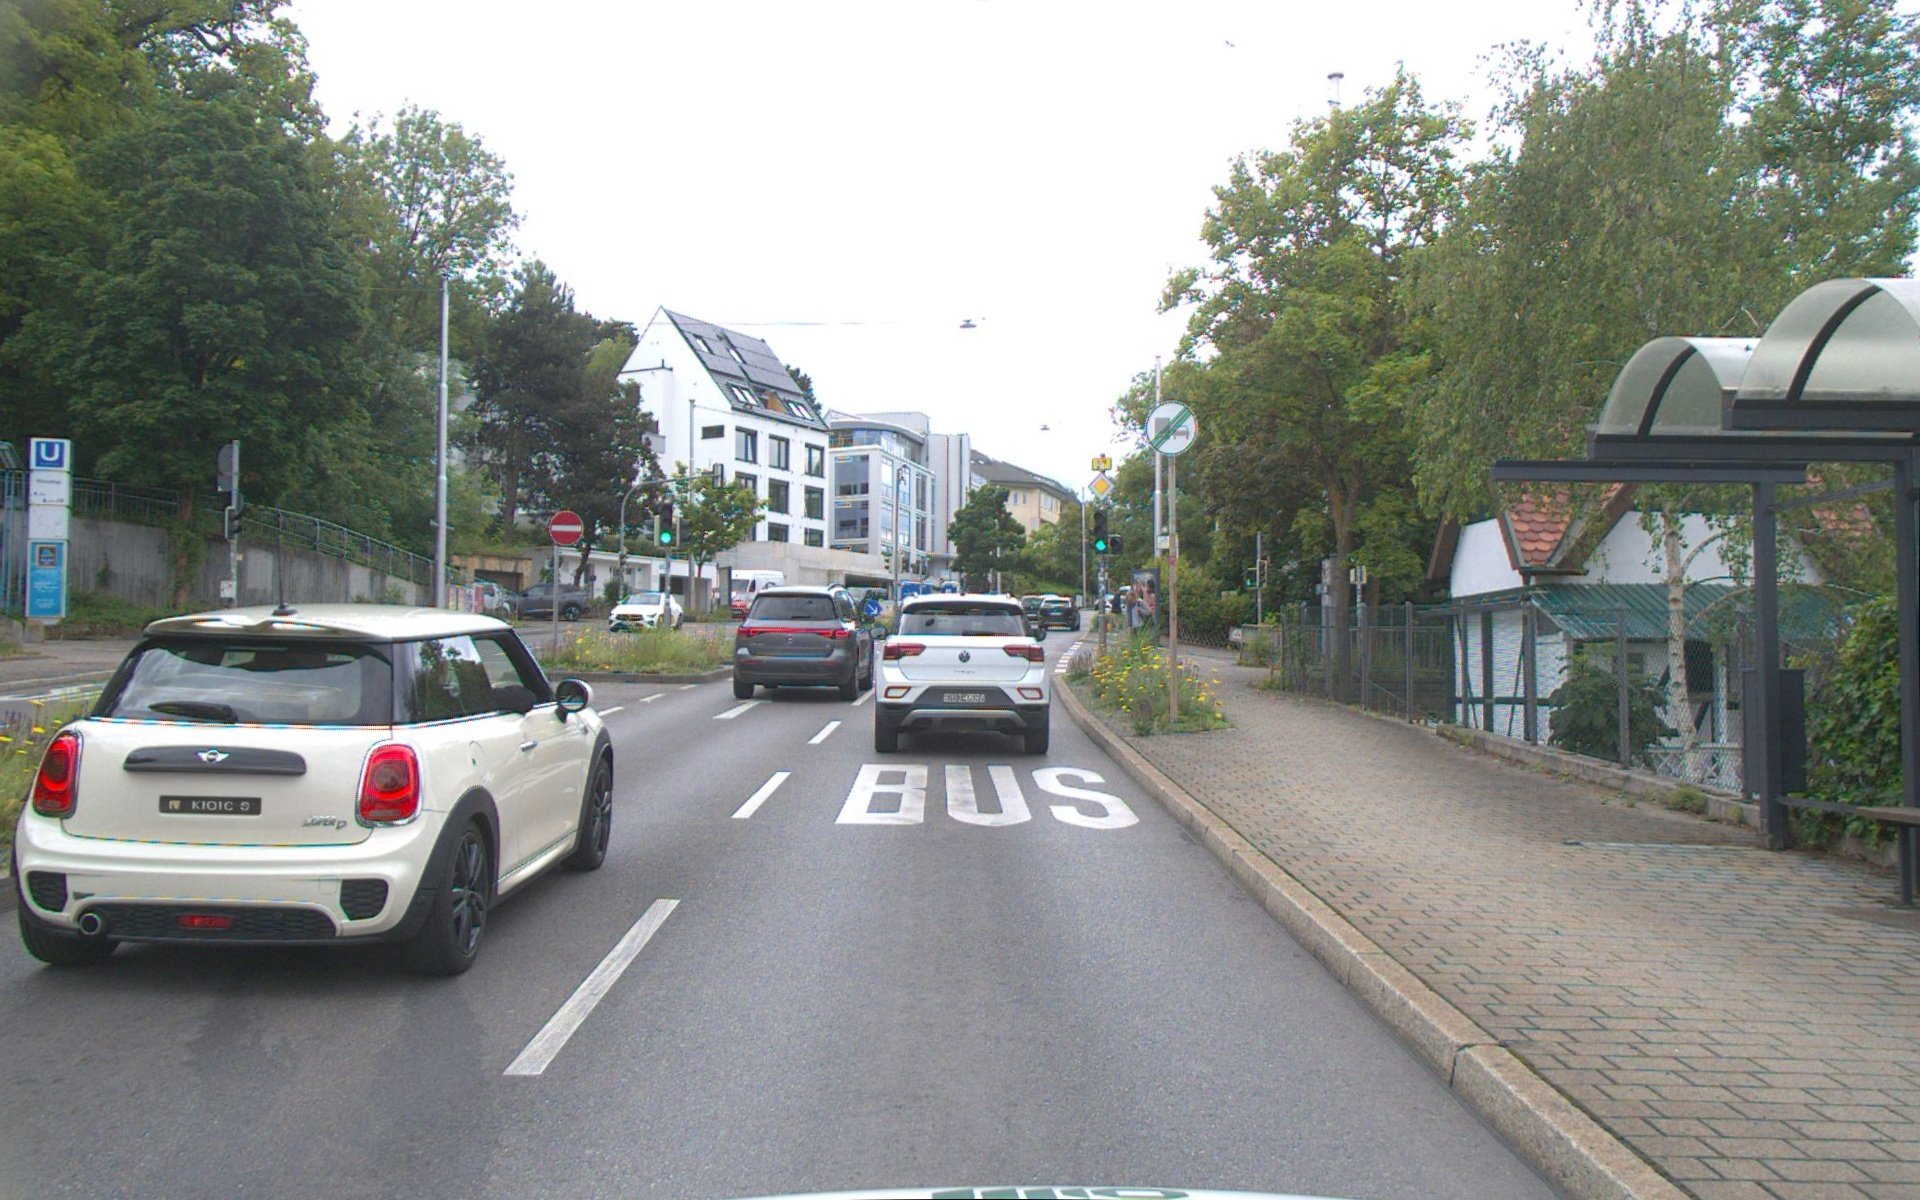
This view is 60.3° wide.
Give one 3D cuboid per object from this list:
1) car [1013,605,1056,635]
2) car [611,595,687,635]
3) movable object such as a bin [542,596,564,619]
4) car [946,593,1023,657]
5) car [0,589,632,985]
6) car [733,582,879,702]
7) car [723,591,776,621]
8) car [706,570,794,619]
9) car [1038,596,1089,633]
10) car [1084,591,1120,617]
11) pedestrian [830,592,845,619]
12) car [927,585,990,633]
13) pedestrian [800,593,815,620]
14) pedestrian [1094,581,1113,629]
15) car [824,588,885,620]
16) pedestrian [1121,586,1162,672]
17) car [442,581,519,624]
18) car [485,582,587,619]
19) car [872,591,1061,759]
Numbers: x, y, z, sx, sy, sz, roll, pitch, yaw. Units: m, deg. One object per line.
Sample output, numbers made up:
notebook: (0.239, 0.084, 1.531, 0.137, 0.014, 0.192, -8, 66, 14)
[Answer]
car: (4.076, 1.070, 90.037, 1.818, 1.527, 4.059, 0, 0, 10)
car: (-11.300, 0.511, 60.361, 1.681, 1.418, 4.610, 0, 0, 3)
movable object such as a bin: (-18.949, 0.366, 77.067, 0.628, 1.029, 0.727, 2, 0, 35)
car: (0.705, 0.643, 44.339, 1.834, 1.527, 4.556, 3, 0, 3)
car: (-2.694, 0.672, 7.755, 1.594, 1.418, 3.566, 0, 0, 0)
car: (-2.278, 0.583, 25.602, 1.775, 1.681, 4.636, 0, 0, 0)
car: (-10.852, 0.285, 85.521, 1.587, 1.491, 3.930, 0, 0, 11)
car: (-11.654, -0.317, 92.408, 2.184, 2.613, 7.427, 0, 0, 15)
car: (4.820, 0.671, 76.749, 1.833, 1.527, 4.559, 3, 0, 9)
car: (8.723, 0.248, 101.334, 1.818, 1.527, 4.059, 0, 0, 10)
pedestrian: (-7.906, 0.352, 106.822, 0.667, 1.669, 0.664, 2, 0, -33)
car: (-0.013, 0.308, 59.834, 1.818, 1.681, 4.639, 0, 0, 6)
pedestrian: (-9.620, 0.397, 104.298, 0.613, 1.669, 0.672, 2, 0, 22)
pedestrian: (5.678, 0.206, 65.526, 0.678, 1.866, 0.620, 2, 0, 7)
car: (-6.708, 0.232, 105.884, 1.941, 2.001, 5.219, 0, 0, 20)
pedestrian: (3.668, 0.580, 33.365, 0.679, 1.718, 0.620, -1, -1, 21)
car: (-18.926, 0.097, 65.291, 2.667, 1.547, 1.552, 4, -1, -24)
car: (-17.900, 0.024, 69.996, 4.045, 1.567, 1.594, 0, 0, -11)
car: (-0.001, 0.698, 17.416, 1.775, 1.566, 3.688, 0, 0, -2)
